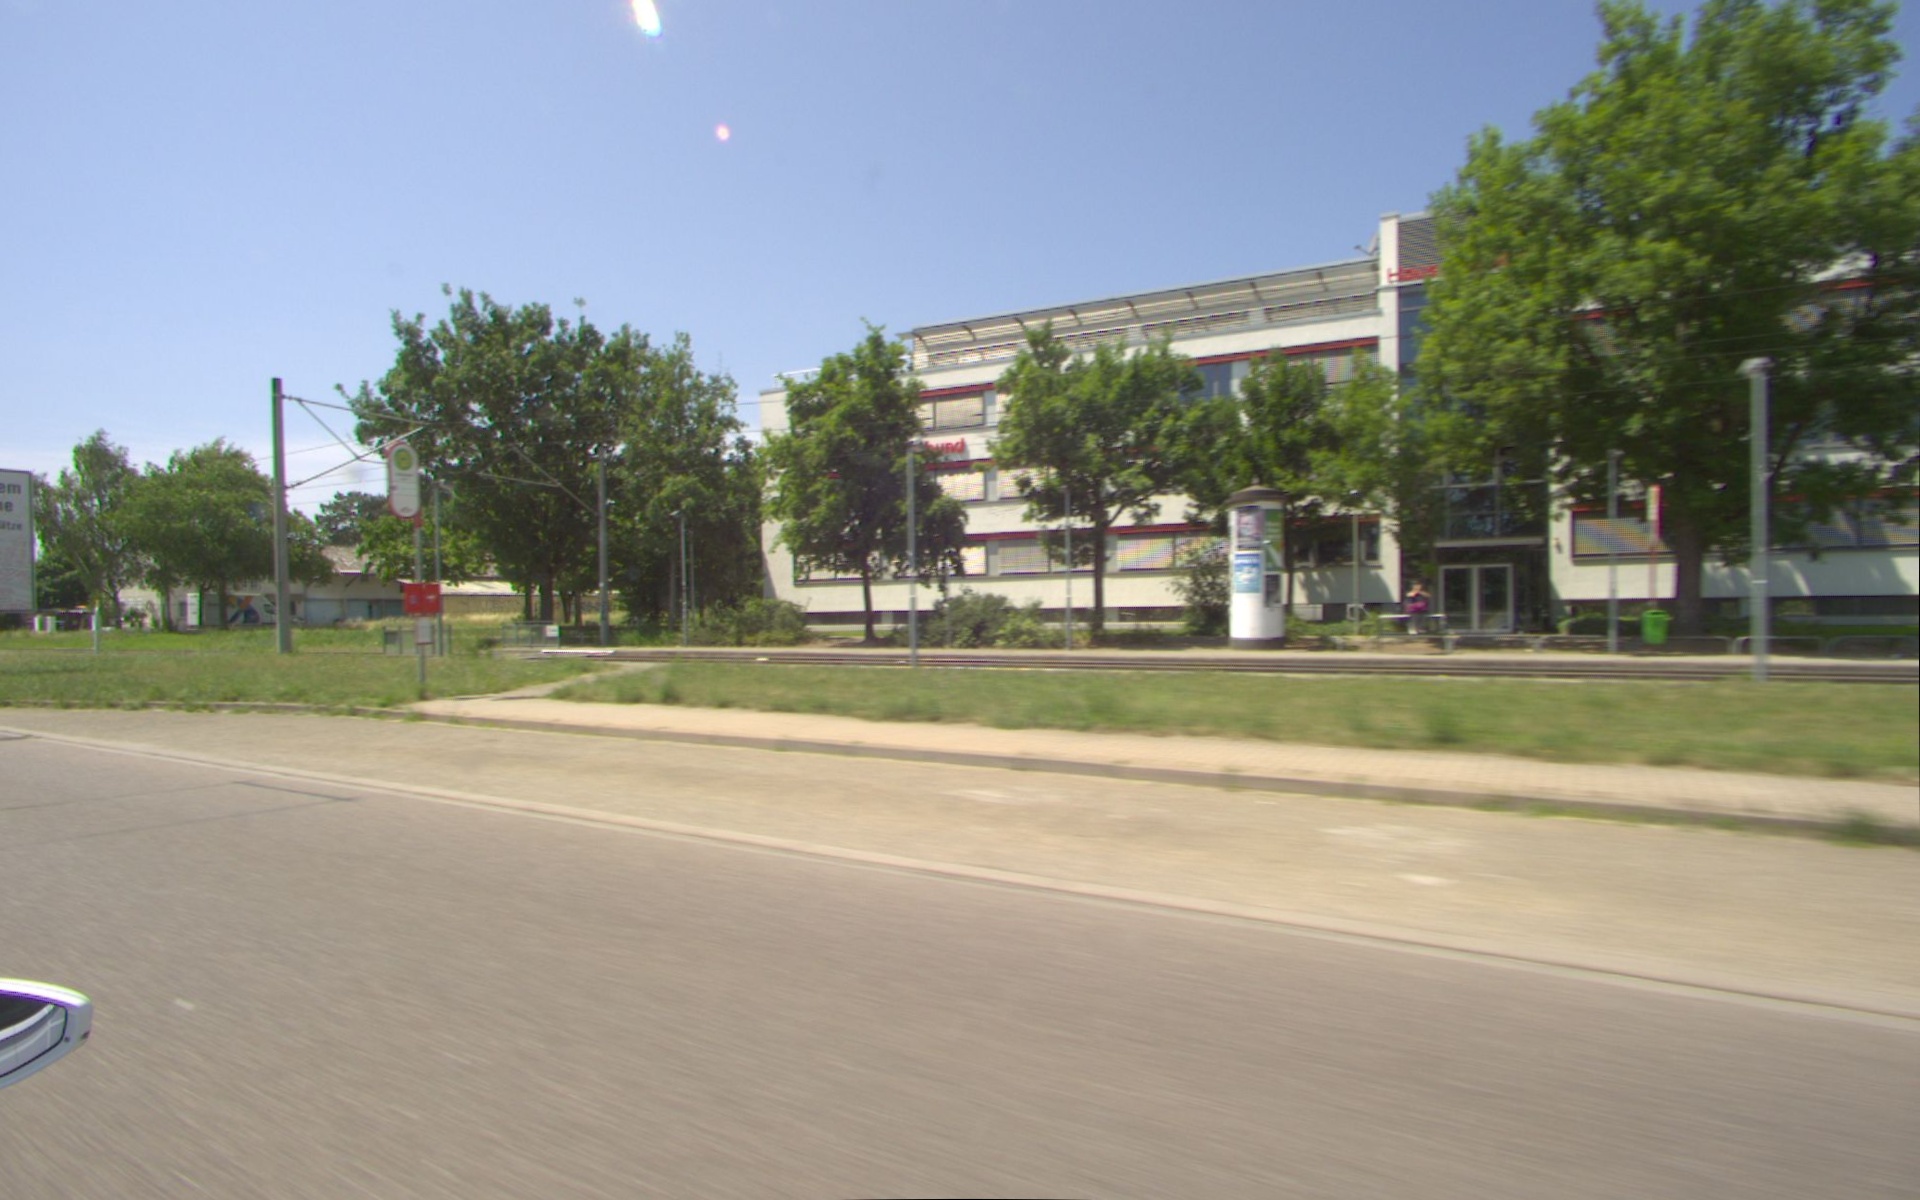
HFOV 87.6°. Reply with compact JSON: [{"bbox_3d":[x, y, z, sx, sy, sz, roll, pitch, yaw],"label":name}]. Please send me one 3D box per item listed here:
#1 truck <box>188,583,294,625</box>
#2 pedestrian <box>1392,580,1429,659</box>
[{"bbox_3d":[-51.968,0.266,72.544,2.282,2.881,5.840,-1,1,24],"label":"truck"},{"bbox_3d":[10.841,0.477,24.101,0.699,1.865,0.695,-1,-2,16],"label":"pedestrian"}]
